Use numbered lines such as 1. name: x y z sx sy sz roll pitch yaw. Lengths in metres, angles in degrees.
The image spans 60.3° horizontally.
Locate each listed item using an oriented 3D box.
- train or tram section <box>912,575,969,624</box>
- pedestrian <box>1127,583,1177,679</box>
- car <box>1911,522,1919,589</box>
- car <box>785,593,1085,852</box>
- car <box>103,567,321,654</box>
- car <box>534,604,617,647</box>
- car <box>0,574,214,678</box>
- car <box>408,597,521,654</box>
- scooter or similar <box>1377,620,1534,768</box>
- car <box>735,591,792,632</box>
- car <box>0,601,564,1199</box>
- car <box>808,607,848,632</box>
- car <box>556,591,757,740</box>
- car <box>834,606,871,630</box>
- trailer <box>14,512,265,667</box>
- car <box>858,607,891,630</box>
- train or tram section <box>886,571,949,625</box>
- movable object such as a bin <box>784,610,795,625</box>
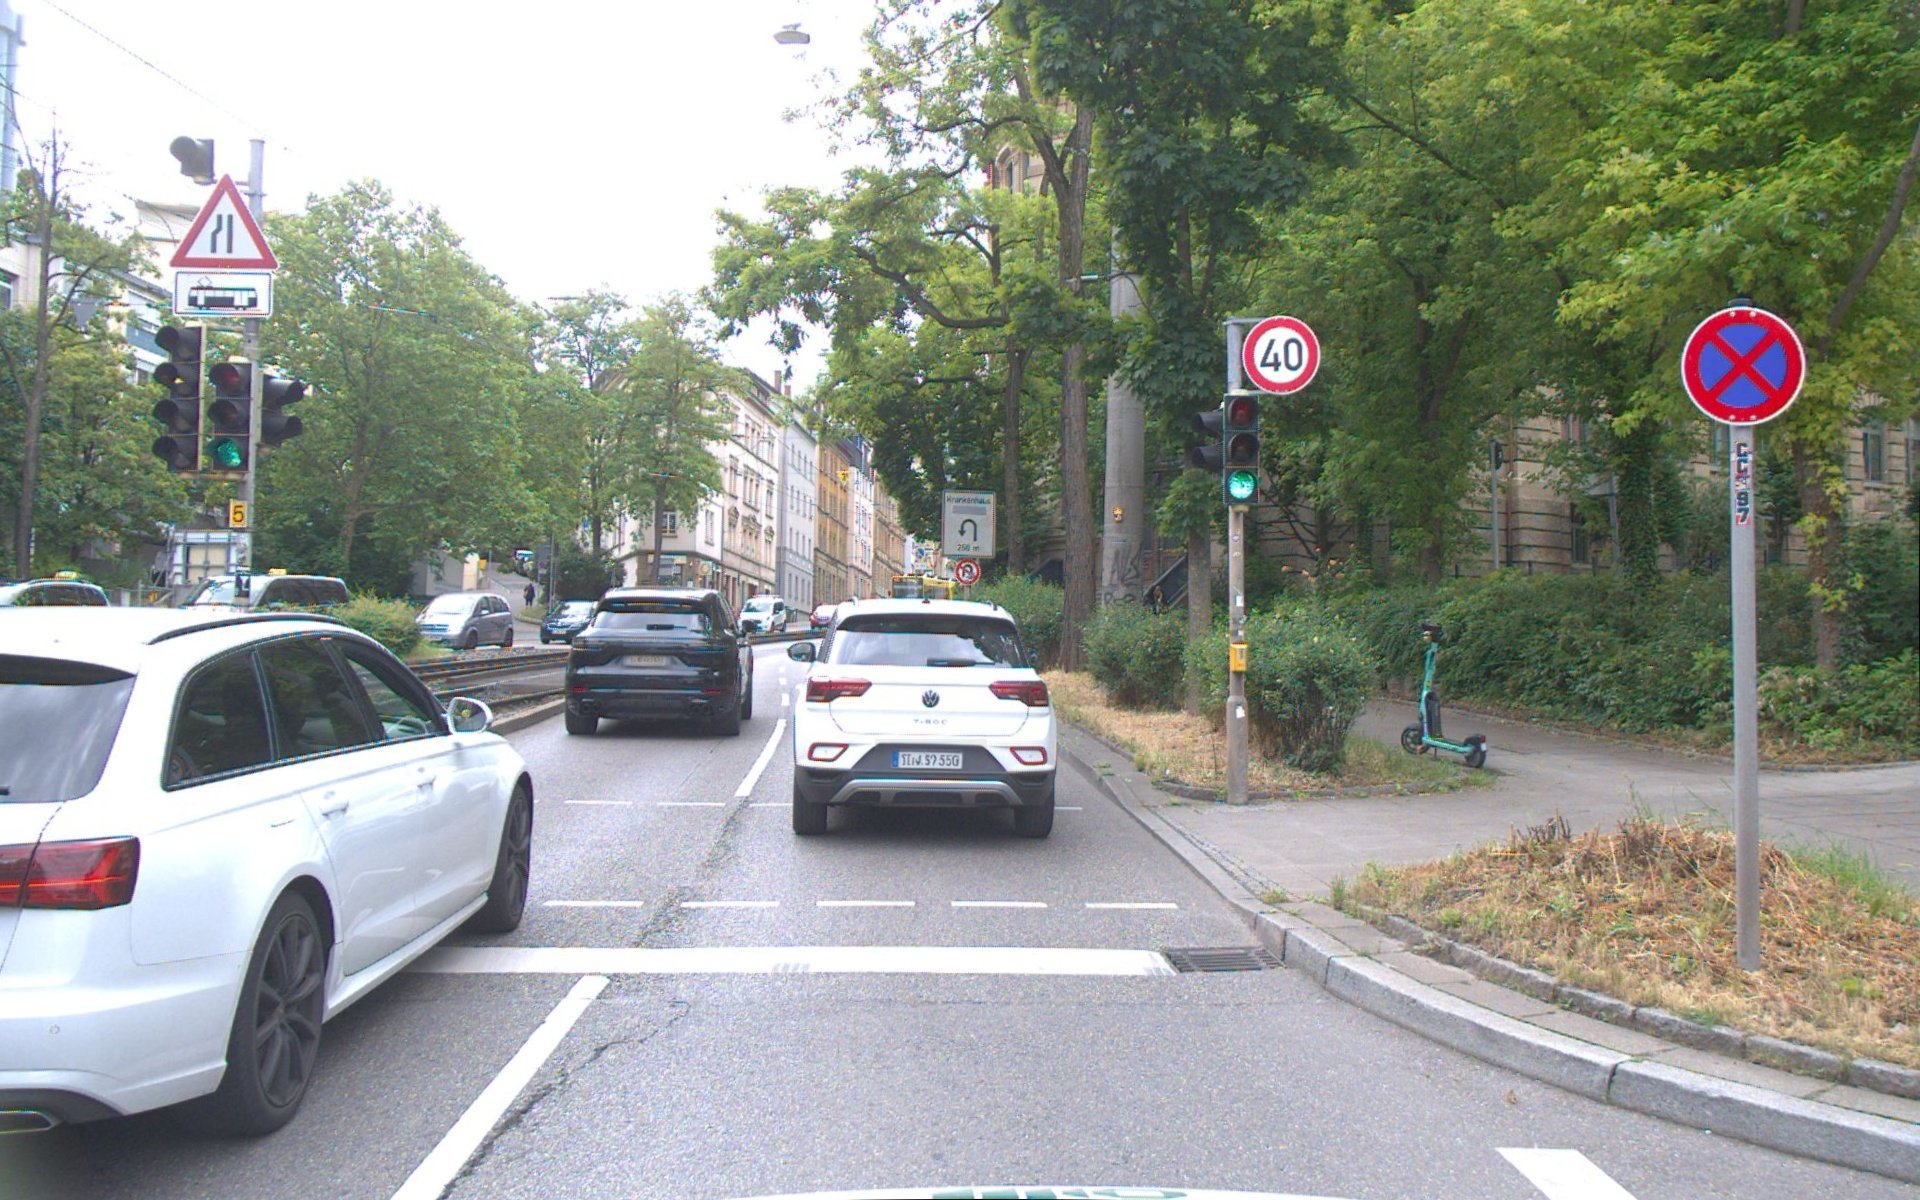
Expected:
1. train or tram section: -1.505 0.003 141.445 2.815 3.791 18.713 2 0 5
2. pedestrian: 3.514 0.558 30.375 0.756 1.732 0.784 0 0 -7
3. car: 31.082 -1.477 49.275 5.136 1.967 2.161 -3 -2 -26
4. car: -0.310 0.763 12.186 1.842 1.582 3.996 0 0 -5
5. car: -14.871 0.202 33.192 1.951 1.633 4.612 0 0 5
6. car: -13.222 0.839 57.123 1.729 1.432 4.084 0 0 3
7. car: -14.991 0.416 28.411 1.951 1.633 4.622 0 0 5
8. car: -13.491 0.671 45.217 1.624 1.468 3.742 0 0 6
9. scooter or similar: 4.377 0.802 14.726 0.619 1.231 1.551 0 0 -15
10. car: -10.049 0.566 84.922 1.906 1.980 5.005 1 0 5
11. car: -2.801 0.747 5.779 1.841 1.480 4.615 0 0 -2
12. car: -8.248 1.204 103.407 1.952 1.579 4.002 0 0 4
13. car: -3.530 0.722 19.998 1.998 1.599 4.353 0 0 -6
14. car: -7.209 1.219 111.413 1.952 1.579 4.002 0 0 4
15. trailer: -17.544 -0.186 35.780 1.976 3.025 5.594 2 0 7
16. car: -6.244 1.339 120.697 1.952 1.579 4.002 0 0 4
17. train or tram section: -3.086 -0.088 124.728 2.821 3.791 14.865 2 0 5
18. movable object such as a bin: -12.523 1.280 121.429 0.712 1.092 0.672 1 -1 6
